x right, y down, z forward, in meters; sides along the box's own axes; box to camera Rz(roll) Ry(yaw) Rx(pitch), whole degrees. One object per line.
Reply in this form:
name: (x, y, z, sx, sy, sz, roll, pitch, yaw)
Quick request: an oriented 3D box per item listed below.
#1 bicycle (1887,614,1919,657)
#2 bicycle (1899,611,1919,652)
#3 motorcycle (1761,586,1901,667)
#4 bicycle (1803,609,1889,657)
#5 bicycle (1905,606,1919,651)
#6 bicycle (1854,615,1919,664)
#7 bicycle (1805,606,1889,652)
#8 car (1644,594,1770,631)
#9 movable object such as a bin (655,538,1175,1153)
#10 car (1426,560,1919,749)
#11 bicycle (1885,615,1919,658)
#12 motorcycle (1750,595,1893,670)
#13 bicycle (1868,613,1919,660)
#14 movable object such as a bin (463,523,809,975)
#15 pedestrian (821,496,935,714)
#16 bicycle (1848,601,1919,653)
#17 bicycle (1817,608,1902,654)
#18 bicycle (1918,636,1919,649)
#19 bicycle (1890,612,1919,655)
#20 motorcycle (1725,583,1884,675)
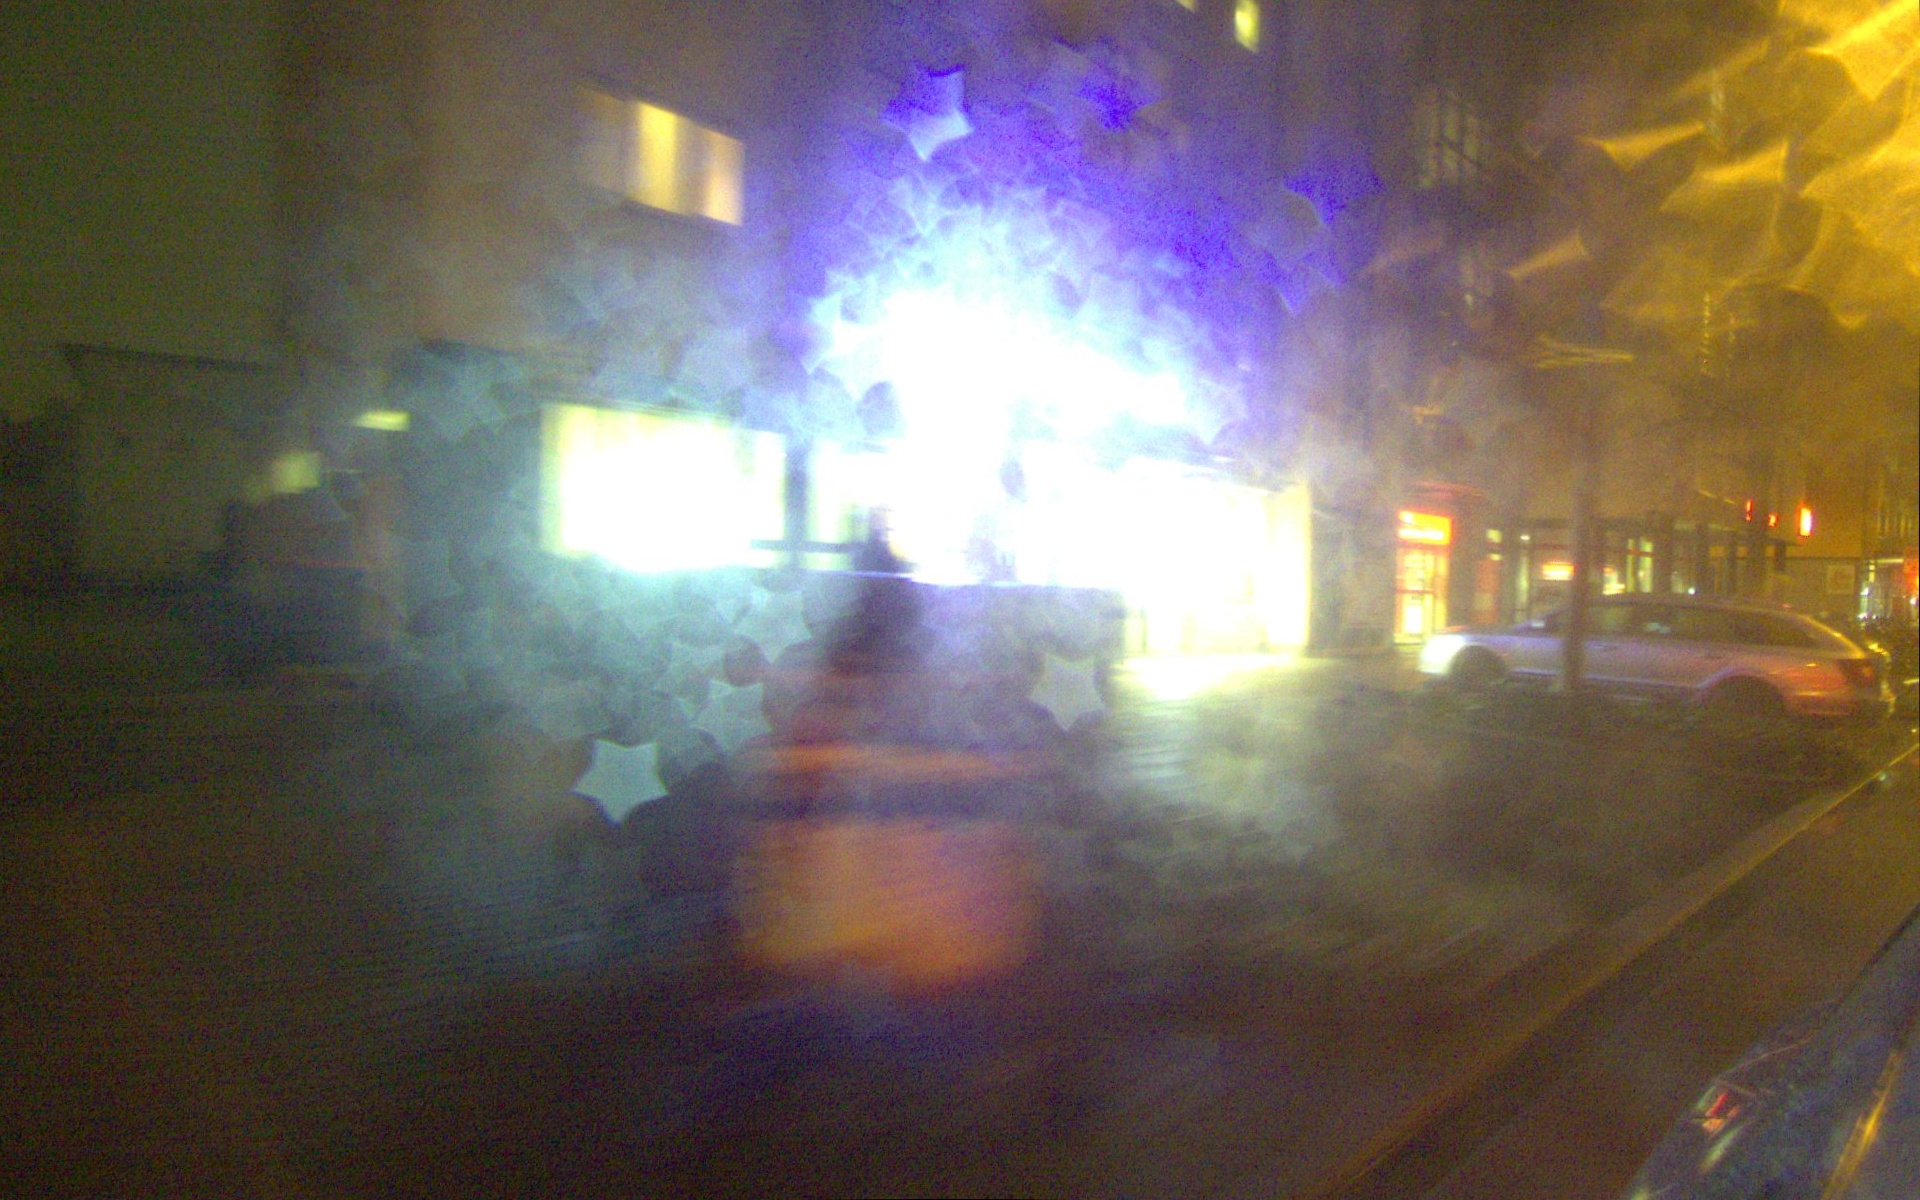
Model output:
bicycle: (23.938, 0.946, 24.927, 0.360, 0.963, 1.532, -1, 8, -44)
bicycle: (26.248, 0.928, 27.064, 0.360, 1.035, 1.533, 0, 8, -41)
motorcycle: (19.754, 0.558, 22.999, 0.851, 1.565, 2.179, 0, 5, -40)
bicycle: (22.603, 0.830, 25.842, 0.360, 0.963, 1.532, -1, 8, -44)
bicycle: (27.098, 0.866, 27.781, 0.360, 1.216, 1.533, 0, 8, -41)
bicycle: (22.032, 0.954, 23.566, 0.359, 0.963, 1.678, 1, 7, -33)
bicycle: (22.970, 0.731, 26.230, 0.360, 0.963, 1.531, -1, 8, -45)
car: (31.717, 0.510, 43.028, 1.861, 1.504, 3.996, 1, 0, -39)
movable object such as a bin: (-0.032, 0.569, 3.151, 1.321, 1.447, 1.196, 2, 1, 13)
car: (8.261, 0.468, 12.063, 1.749, 1.549, 4.524, 1, 5, -41)
bicycle: (23.608, 0.957, 24.606, 0.360, 0.963, 1.532, -1, 8, -44)
motorcycle: (18.780, 0.676, 22.115, 0.851, 1.334, 2.179, 0, 5, -40)
bicycle: (22.564, 0.904, 23.899, 0.359, 0.963, 1.536, 1, 7, -33)
movable object such as a bin: (-1.355, 0.463, 4.066, 1.029, 1.447, 1.315, 1, 1, -31)
pedestrian: (-0.726, 0.031, 8.853, 0.612, 1.810, 0.705, 2, 2, -37)
bicycle: (25.999, 0.736, 28.357, 0.360, 1.216, 1.533, 0, 8, -41)
bicycle: (23.479, 0.795, 26.436, 0.360, 0.963, 1.532, -1, 8, -44)
bicycle: (27.576, 0.863, 27.900, 0.359, 1.216, 1.535, 0, 7, -37)
bicycle: (25.262, 0.931, 26.242, 0.359, 1.035, 1.535, 0, 7, -36)
motorcycle: (17.390, 0.556, 20.908, 0.851, 1.606, 2.294, 0, 5, -40)
